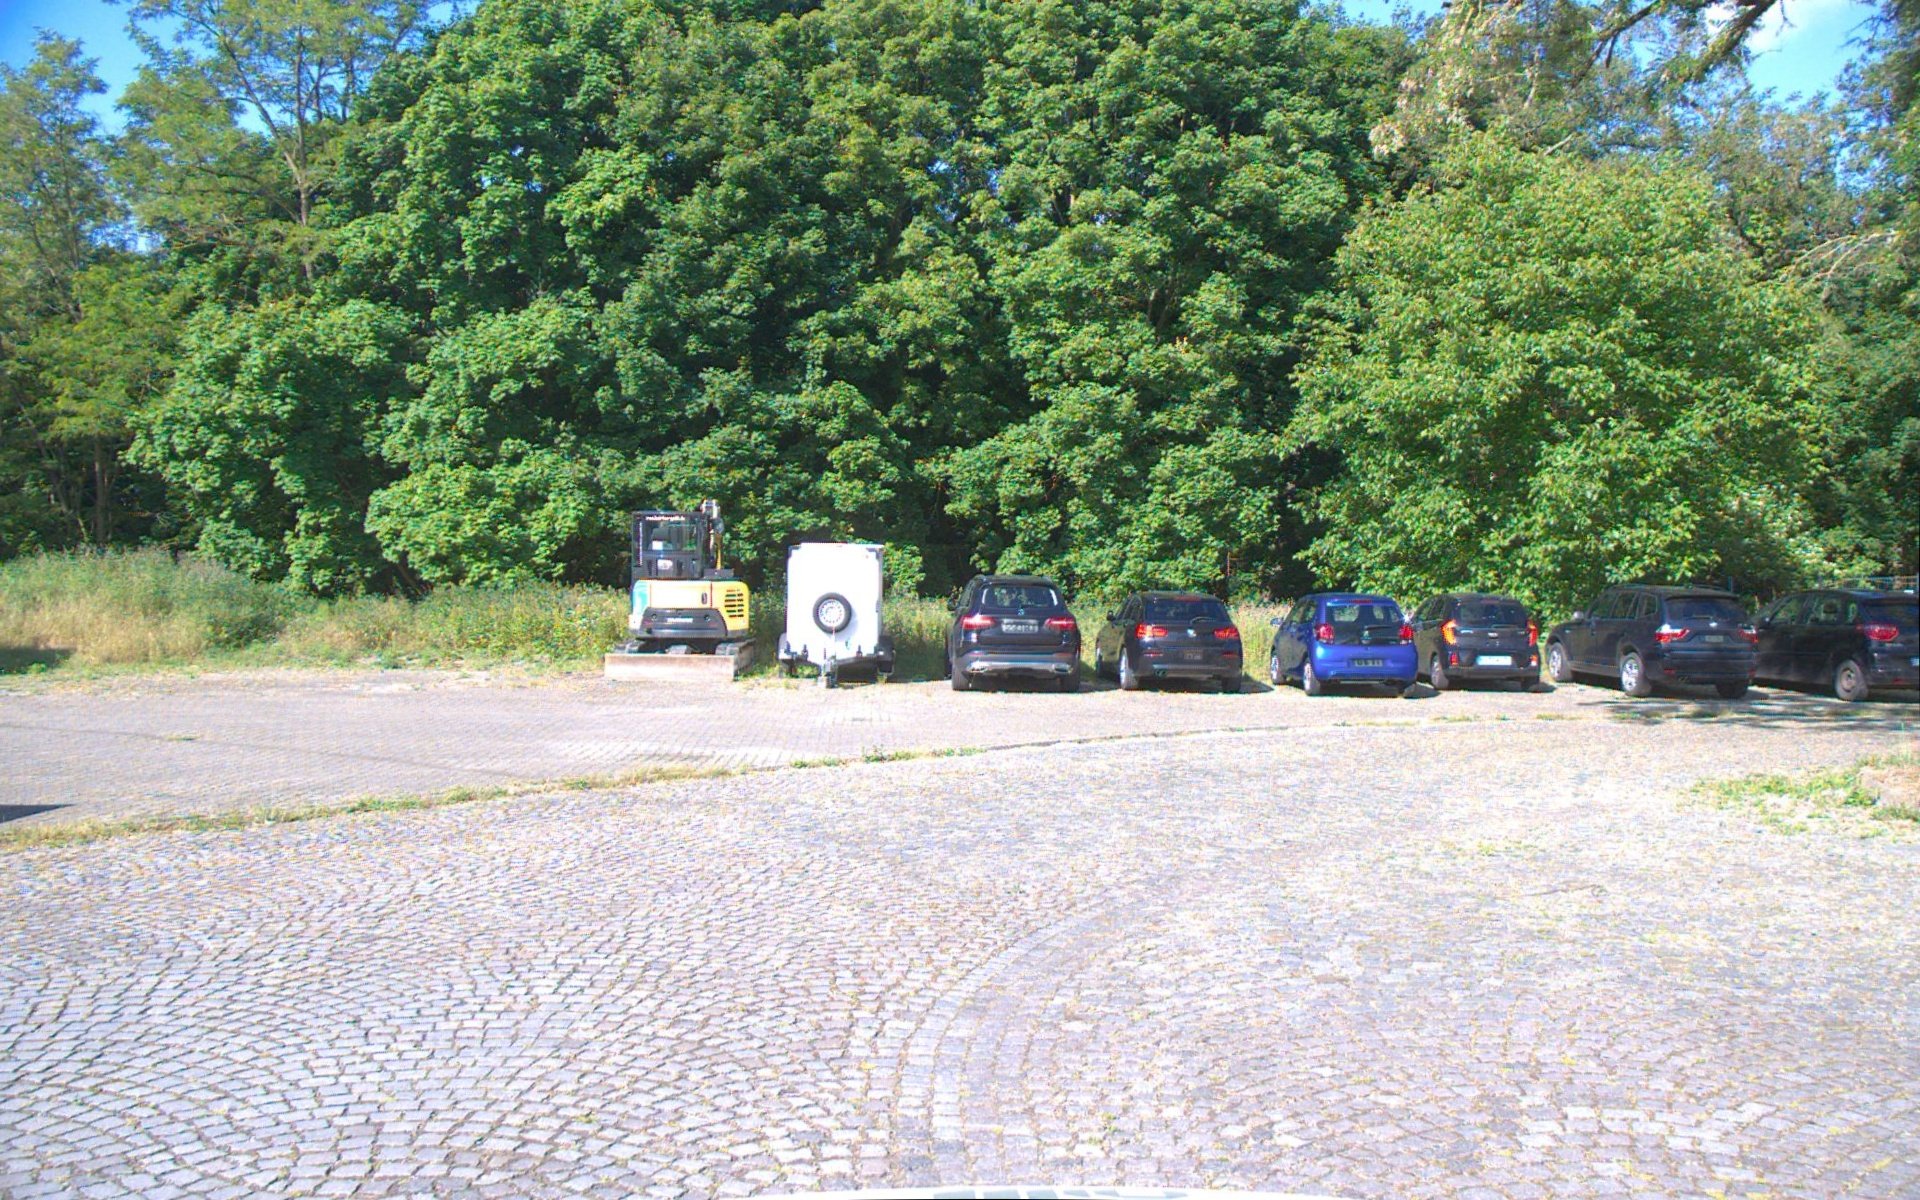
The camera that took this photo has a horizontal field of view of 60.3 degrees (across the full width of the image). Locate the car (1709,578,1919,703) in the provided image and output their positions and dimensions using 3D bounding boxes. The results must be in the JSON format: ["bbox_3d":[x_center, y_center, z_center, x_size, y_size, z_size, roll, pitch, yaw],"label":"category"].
[{"bbox_3d":[13.982,0.566,26.319,1.789,1.616,4.269,0,4,-7],"label":"car"}]

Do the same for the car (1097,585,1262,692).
[{"bbox_3d":[3.250,0.534,25.183,1.851,1.436,3.788,1,1,-2],"label":"car"}]

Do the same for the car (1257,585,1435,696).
[{"bbox_3d":[5.822,0.563,25.373,1.744,1.484,3.789,1,1,-1],"label":"car"}]

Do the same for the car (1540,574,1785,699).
[{"bbox_3d":[10.999,0.504,26.263,1.837,1.659,4.271,1,2,-3],"label":"car"}]

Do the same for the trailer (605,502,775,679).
[{"bbox_3d":[-4.173,-0.217,26.009,2.212,2.582,2.851,1,3,-1],"label":"trailer"}]

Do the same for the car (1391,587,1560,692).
[{"bbox_3d":[8.179,0.579,26.556,1.702,1.476,3.727,1,1,3],"label":"car"}]

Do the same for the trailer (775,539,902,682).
[{"bbox_3d":[-1.851,0.133,25.871,1.781,2.086,2.850,1,1,-1],"label":"trailer"}]

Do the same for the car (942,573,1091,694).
[{"bbox_3d":[0.765,0.435,24.939,1.925,1.617,4.130,1,1,-2],"label":"car"}]
